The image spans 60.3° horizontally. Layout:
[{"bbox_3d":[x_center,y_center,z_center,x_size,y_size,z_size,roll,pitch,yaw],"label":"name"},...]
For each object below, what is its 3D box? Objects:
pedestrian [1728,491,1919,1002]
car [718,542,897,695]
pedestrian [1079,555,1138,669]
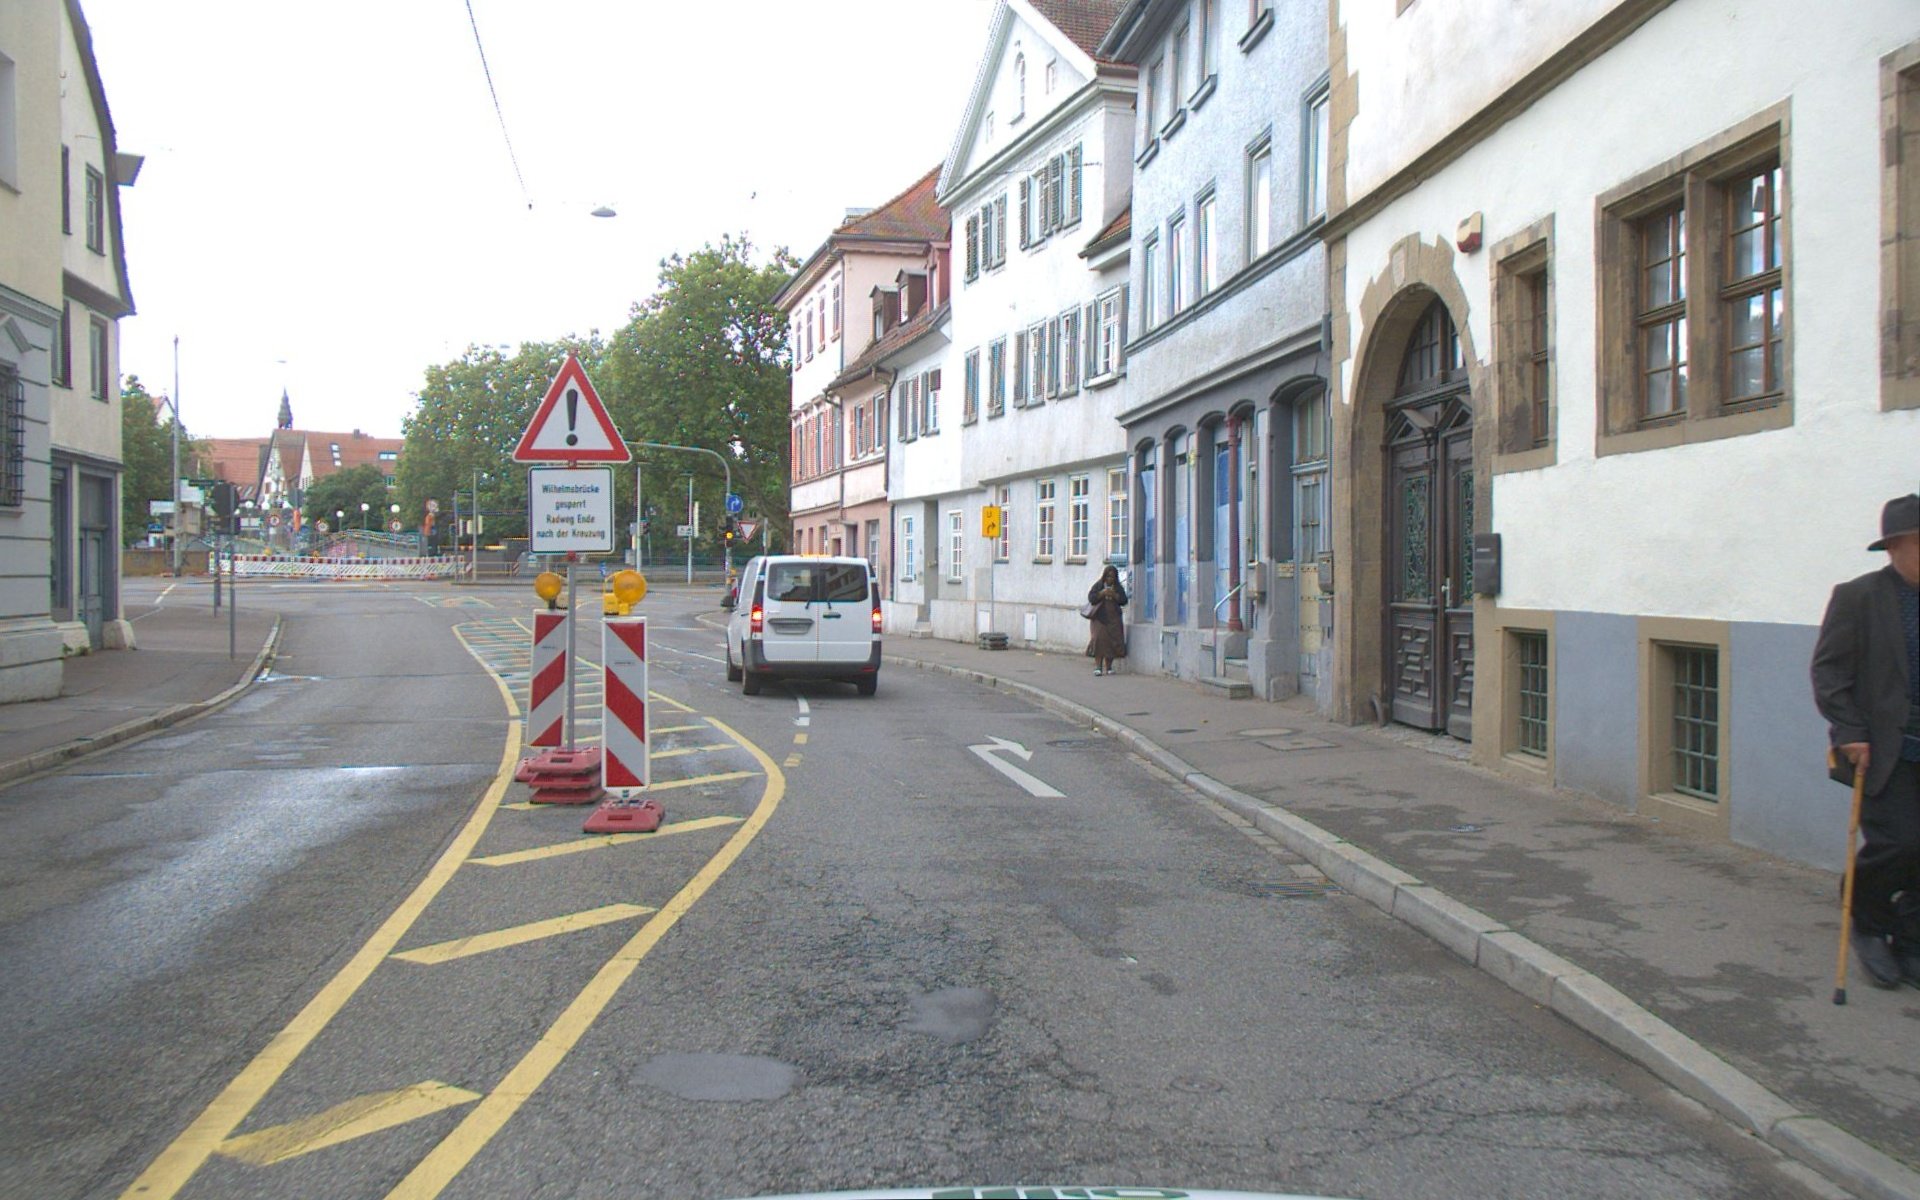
[{"bbox_3d":[3.427,0.470,5.953,0.815,1.684,0.944,-2,0,-3],"label":"pedestrian"},{"bbox_3d":[-2.292,0.246,23.851,1.959,1.956,4.234,2,0,-13],"label":"car"},{"bbox_3d":[2.281,0.174,25.518,0.740,1.696,0.808,2,0,-4],"label":"pedestrian"}]
